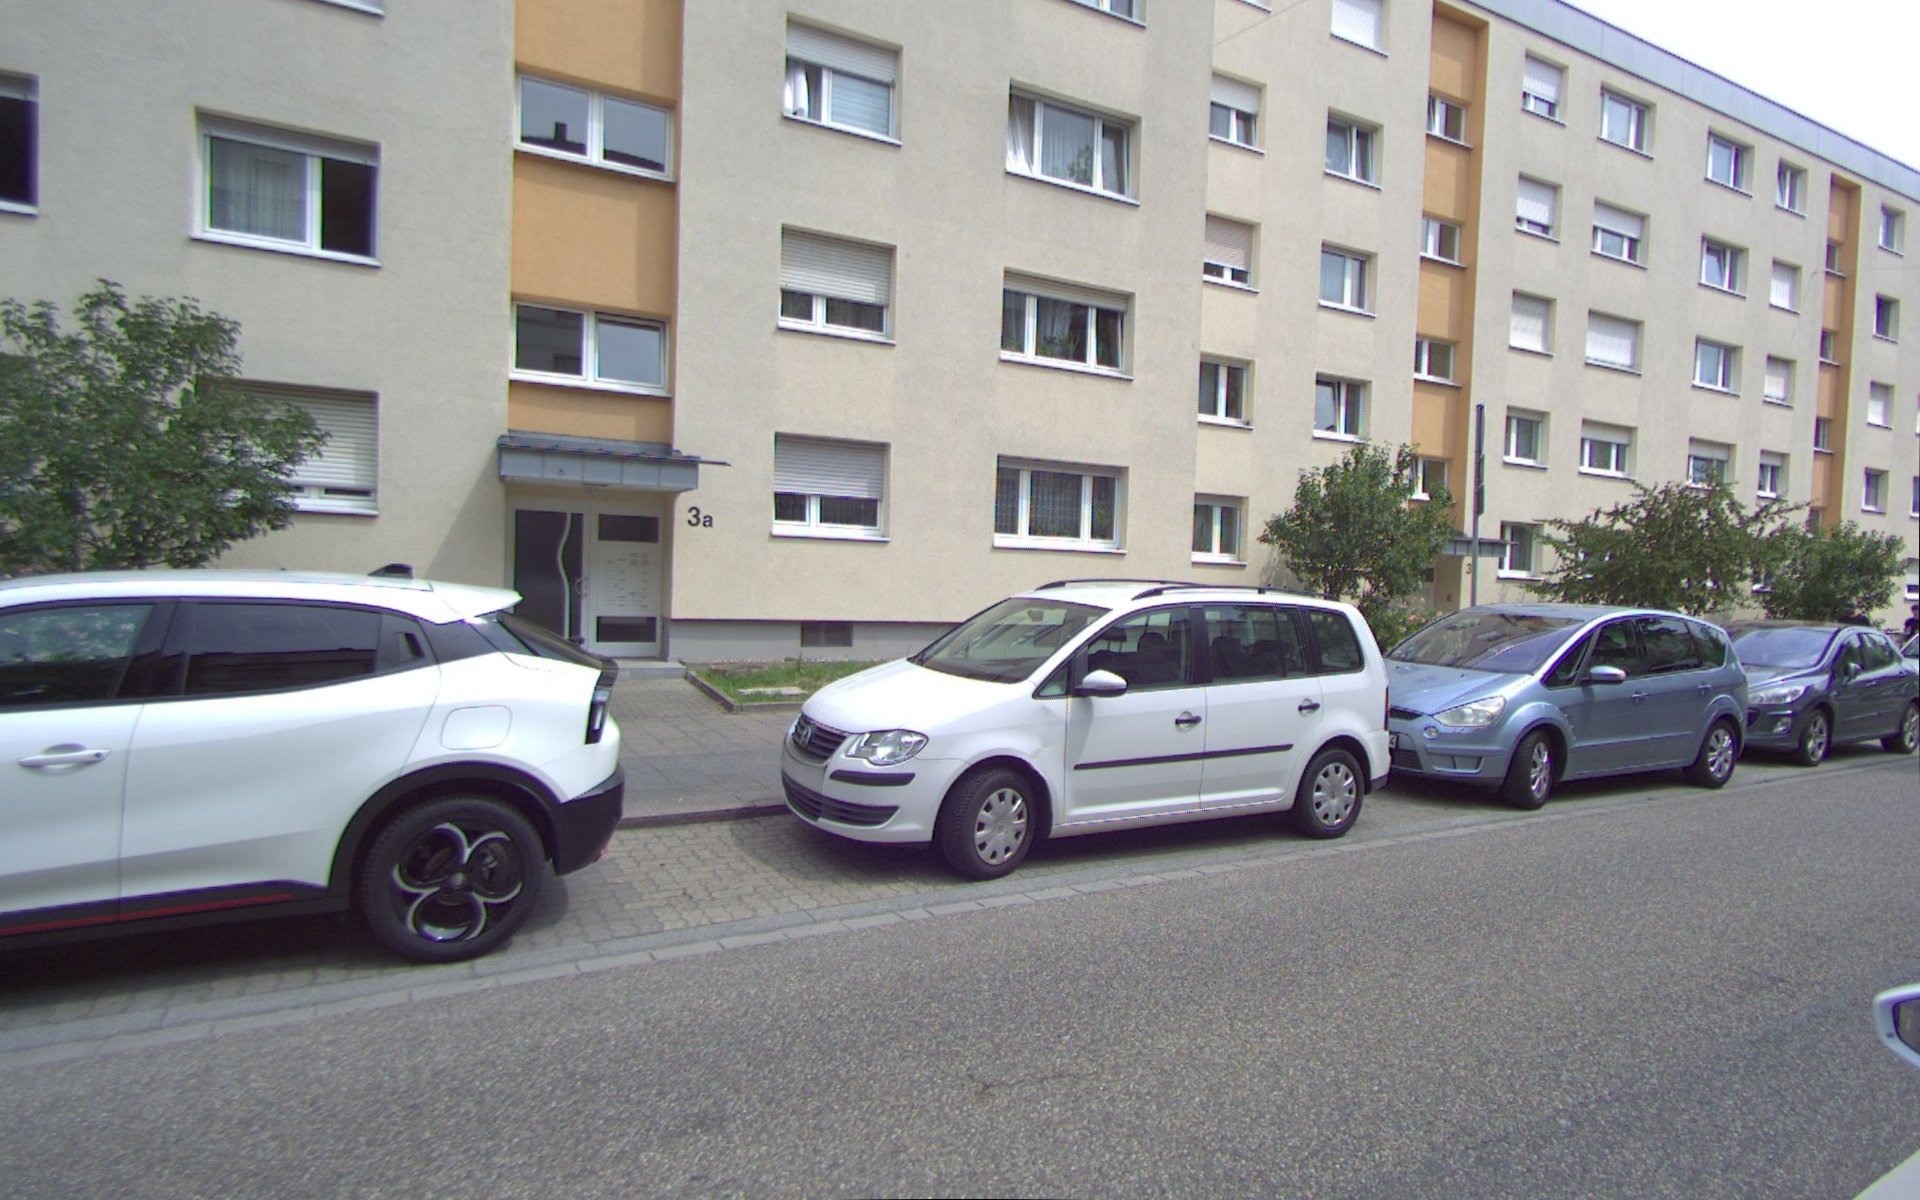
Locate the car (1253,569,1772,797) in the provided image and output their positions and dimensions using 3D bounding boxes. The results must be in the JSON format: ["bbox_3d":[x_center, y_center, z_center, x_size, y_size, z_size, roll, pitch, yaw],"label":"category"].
[{"bbox_3d":[5.241,0.646,9.394,4.802,1.634,1.933,2,2,-29],"label":"car"}]

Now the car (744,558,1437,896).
[{"bbox_3d":[0.978,0.650,6.734,4.422,1.634,1.689,2,3,-29],"label":"car"}]

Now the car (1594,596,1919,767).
[{"bbox_3d":[9.832,0.870,12.054,4.251,1.634,1.933,2,3,-30],"label":"car"}]

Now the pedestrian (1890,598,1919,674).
[{"bbox_3d":[23.417,0.883,24.680,0.795,1.837,0.616,1,1,-33],"label":"pedestrian"}]

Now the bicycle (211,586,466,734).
[{"bbox_3d":[-5.624,0.524,9.211,1.904,1.268,0.578,1,2,-20],"label":"bicycle"}]

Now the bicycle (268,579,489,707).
[{"bbox_3d":[-6.061,0.436,10.580,1.933,1.268,0.562,1,2,-20],"label":"bicycle"}]

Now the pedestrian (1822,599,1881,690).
[{"bbox_3d":[18.587,0.917,20.941,0.889,1.837,0.616,1,2,-33],"label":"pedestrian"}]

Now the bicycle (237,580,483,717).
[{"bbox_3d":[-5.862,0.456,9.936,2.013,1.268,0.535,1,2,-20],"label":"bicycle"}]

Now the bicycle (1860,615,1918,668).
[{"bbox_3d":[26.012,1.142,28.112,2.102,1.412,0.460,0,2,-27],"label":"bicycle"}]

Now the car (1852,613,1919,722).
[{"bbox_3d":[16.104,1.086,16.044,3.808,1.583,1.661,1,3,-32],"label":"car"}]

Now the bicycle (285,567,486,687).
[{"bbox_3d":[-6.374,0.290,11.254,1.889,1.268,0.554,1,2,-22],"label":"bicycle"}]

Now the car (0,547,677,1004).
[{"bbox_3d":[-3.408,0.567,4.203,3.945,1.493,1.699,1,3,-32],"label":"car"}]
